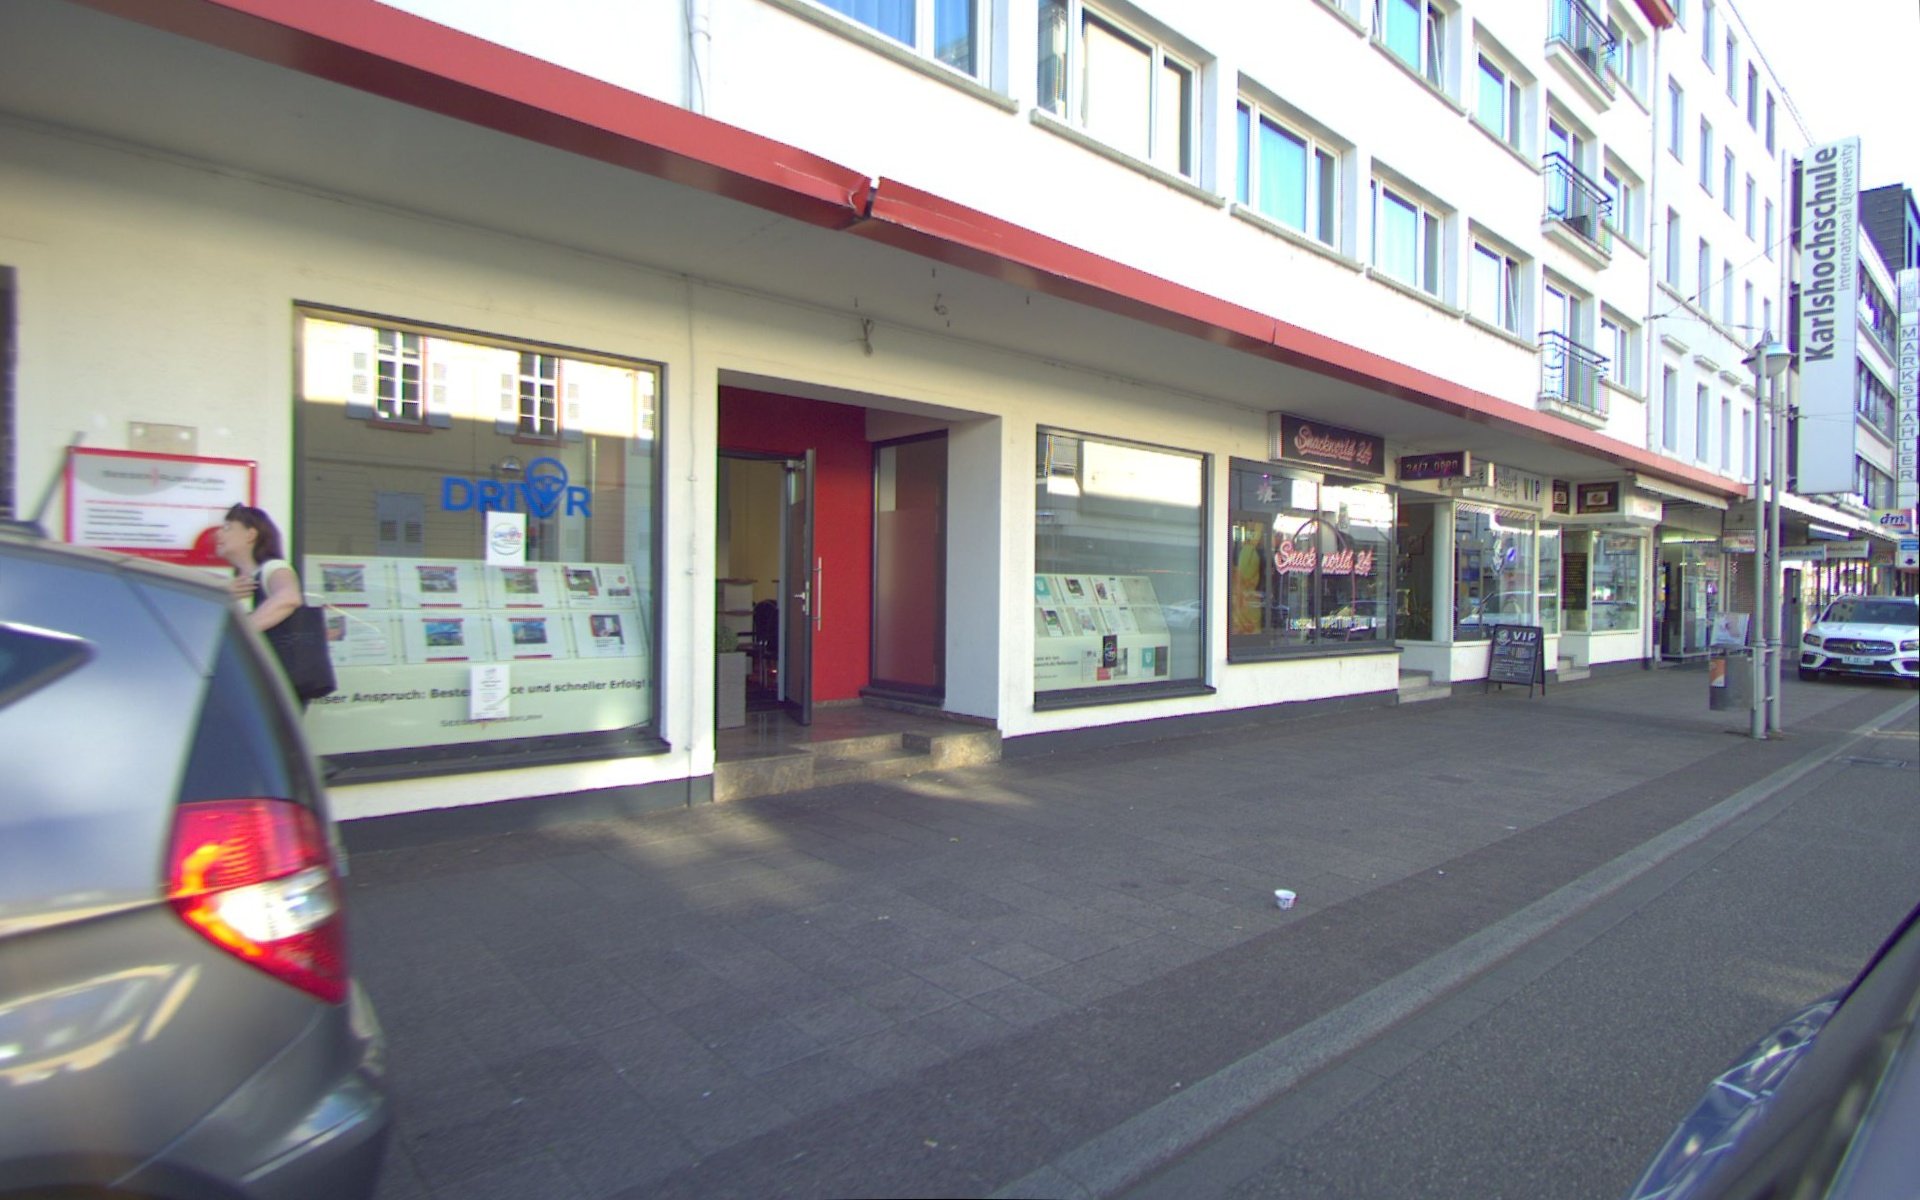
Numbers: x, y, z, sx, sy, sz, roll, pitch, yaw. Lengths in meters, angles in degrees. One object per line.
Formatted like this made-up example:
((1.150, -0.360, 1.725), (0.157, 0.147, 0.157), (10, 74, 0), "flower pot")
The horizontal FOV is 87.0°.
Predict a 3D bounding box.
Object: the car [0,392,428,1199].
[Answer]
((-2.763, 0.530, 1.079), (3.585, 1.652, 1.749), (0, 2, -41), "car")

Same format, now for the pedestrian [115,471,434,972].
((-2.854, 0.424, 4.238), (0.802, 1.796, 0.920), (1, 1, 39), "pedestrian")

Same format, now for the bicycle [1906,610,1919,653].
((24.947, 0.833, 25.806), (0.314, 1.093, 1.133), (0, 2, -42), "bicycle")

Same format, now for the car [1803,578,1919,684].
((17.809, 0.500, 19.340), (5.104, 1.745, 1.853), (-1, 3, -42), "car")
